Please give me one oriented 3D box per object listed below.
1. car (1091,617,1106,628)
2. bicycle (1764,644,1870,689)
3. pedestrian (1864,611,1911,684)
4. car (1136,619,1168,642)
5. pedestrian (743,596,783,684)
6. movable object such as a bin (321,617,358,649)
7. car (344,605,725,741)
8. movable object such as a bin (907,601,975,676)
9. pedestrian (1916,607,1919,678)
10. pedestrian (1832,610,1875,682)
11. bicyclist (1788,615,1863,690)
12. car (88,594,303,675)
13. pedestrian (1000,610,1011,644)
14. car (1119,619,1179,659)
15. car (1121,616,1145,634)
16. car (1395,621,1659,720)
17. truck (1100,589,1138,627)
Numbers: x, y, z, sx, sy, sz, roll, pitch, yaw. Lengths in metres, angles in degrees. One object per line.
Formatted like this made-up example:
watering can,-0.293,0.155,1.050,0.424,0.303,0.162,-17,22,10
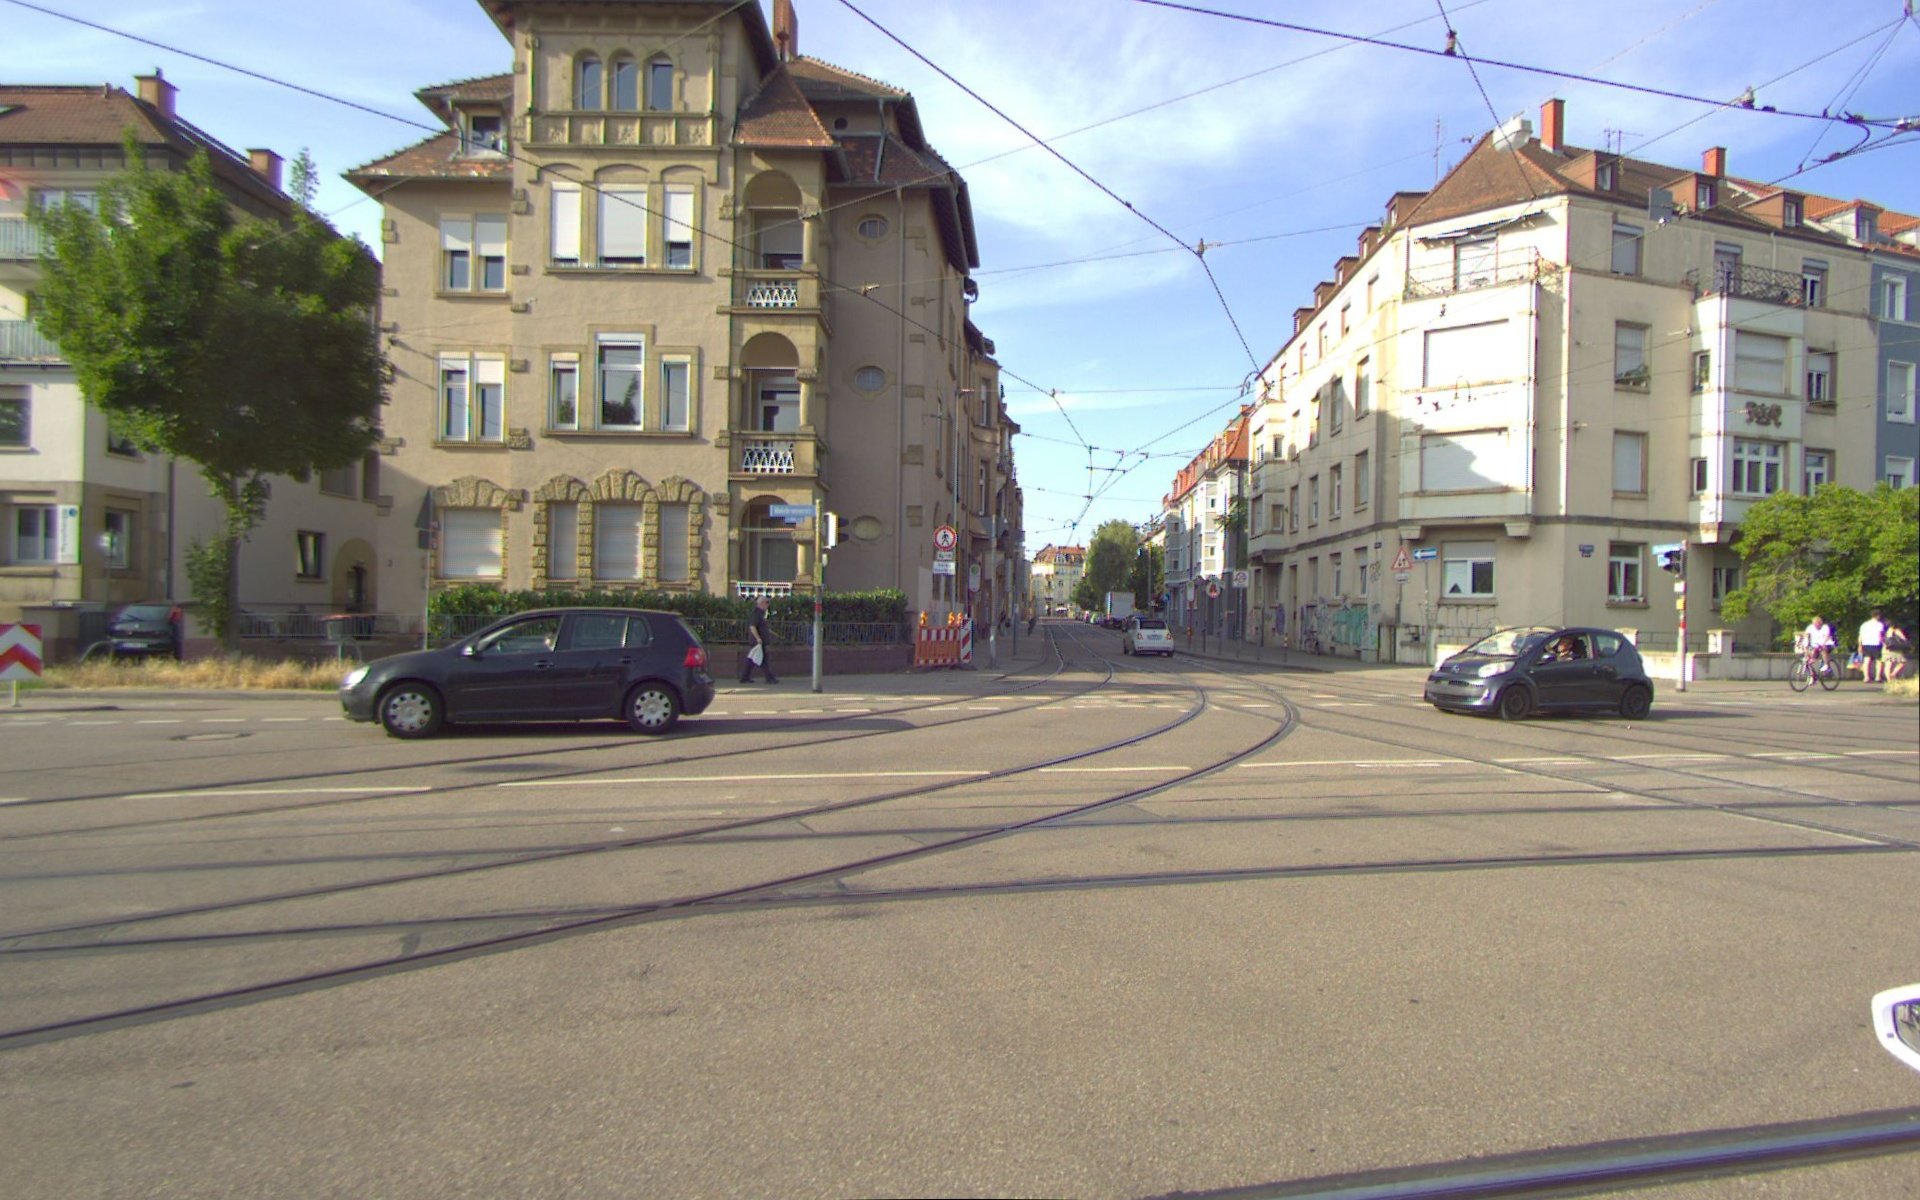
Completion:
car,18.863,3.031,136.510,1.764,1.476,4.002,1,-1,4
bicycle,19.665,1.511,23.050,1.998,0.978,0.770,1,0,-11
pedestrian,24.310,1.237,26.339,0.639,1.873,0.674,1,0,-15
car,13.094,2.063,68.629,1.763,1.476,4.002,0,-1,6
pedestrian,-3.854,0.776,19.703,0.592,1.673,0.681,1,0,4
movable object such as a bin,-16.206,0.863,26.250,0.598,0.825,0.655,1,0,-6
car,-4.909,0.812,12.107,3.935,1.452,1.766,1,-1,-17
movable object such as a bin,-0.437,0.916,24.467,0.260,1.732,2.374,0,-1,36
pedestrian,26.142,1.150,26.880,0.617,1.906,0.584,1,0,-19
pedestrian,23.996,1.232,26.978,0.617,1.906,0.658,1,0,-19
bicyclist,19.873,1.190,23.084,1.146,1.690,0.761,1,0,-11
car,-17.158,0.739,22.833,1.741,1.654,4.001,0,-1,2
pedestrian,2.506,1.492,55.031,0.535,1.847,0.477,1,0,4
car,7.595,1.530,40.671,1.764,1.476,4.001,1,-1,2
car,15.106,2.169,87.731,1.764,1.476,4.002,0,-1,5
car,9.103,1.098,16.210,3.566,1.452,1.635,1,0,-13
truck,16.605,0.880,105.576,3.191,3.778,9.929,1,-1,5
